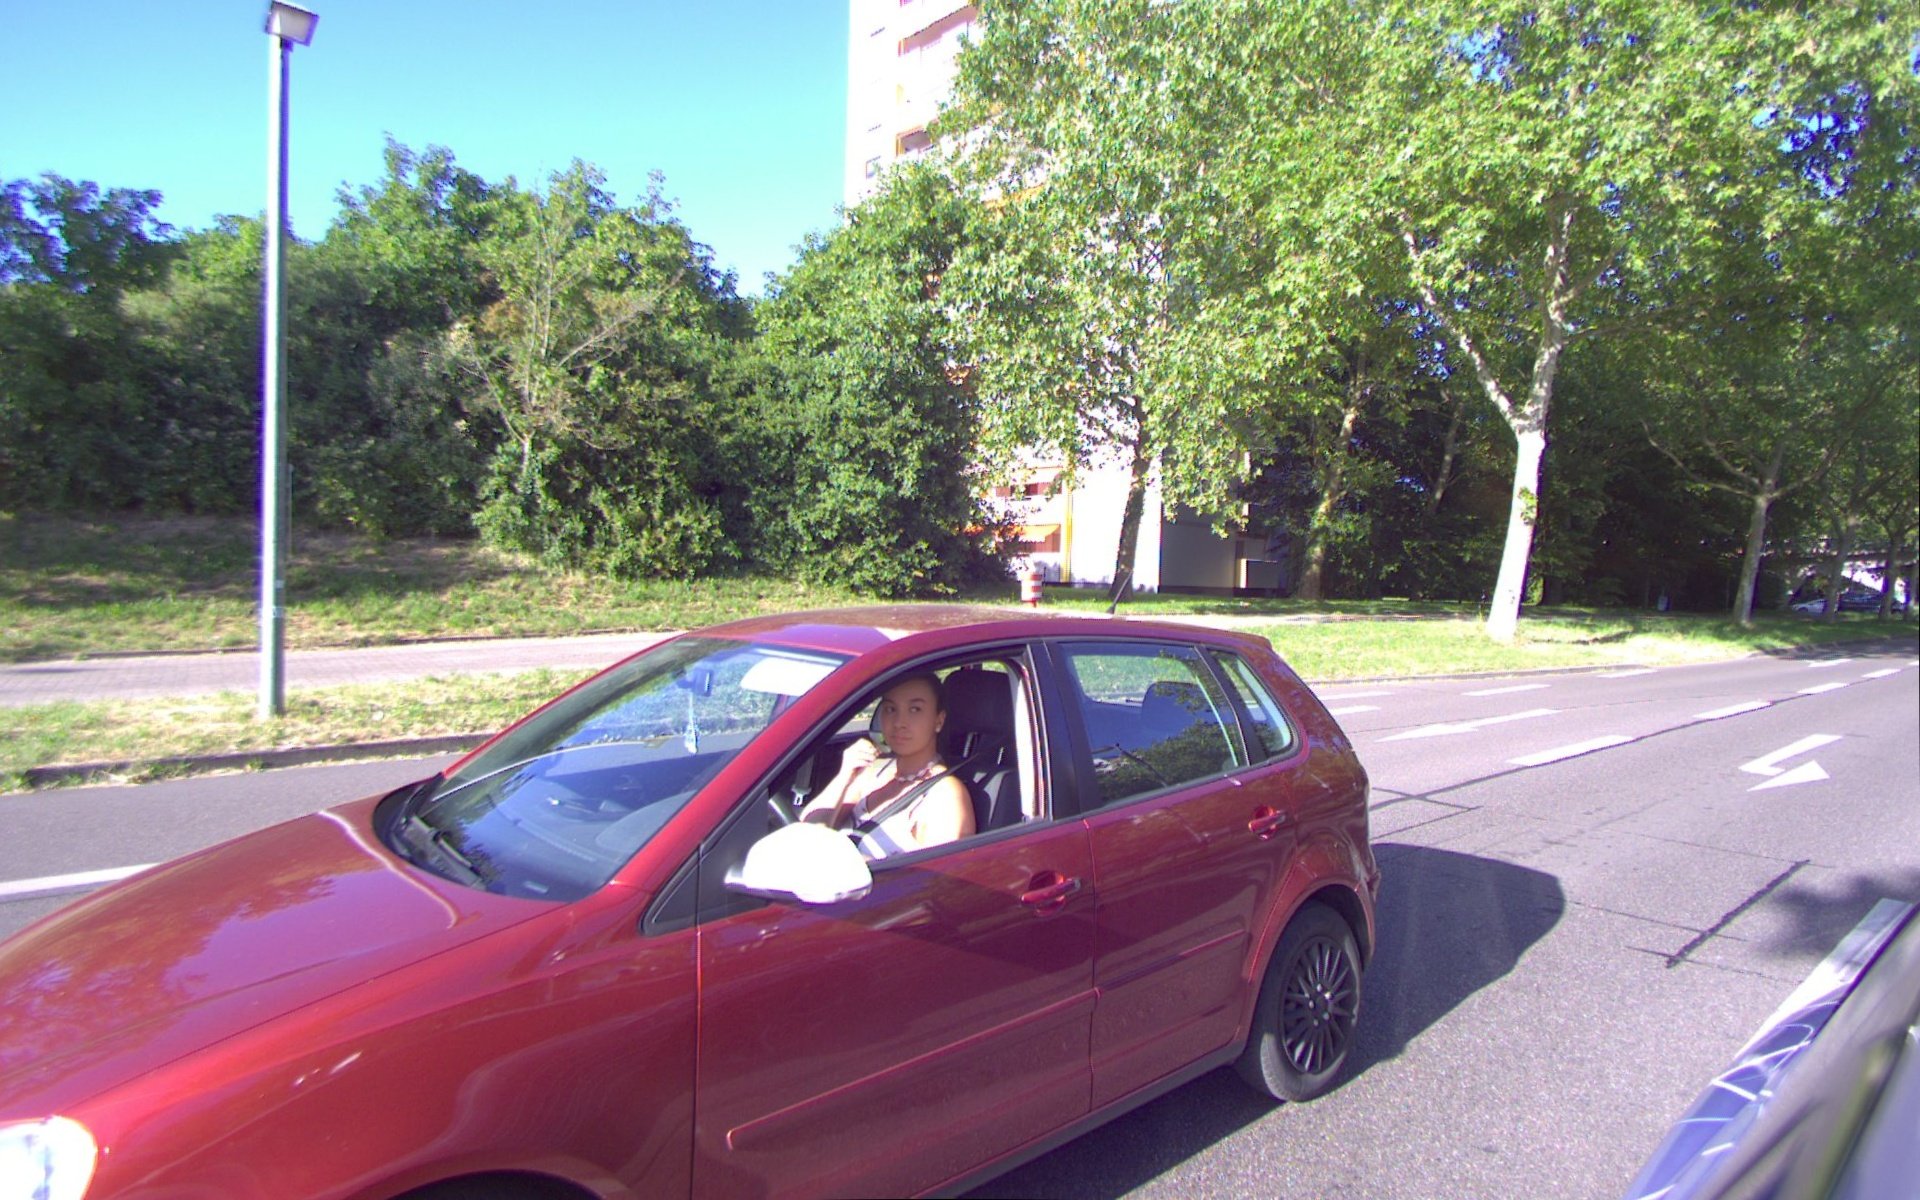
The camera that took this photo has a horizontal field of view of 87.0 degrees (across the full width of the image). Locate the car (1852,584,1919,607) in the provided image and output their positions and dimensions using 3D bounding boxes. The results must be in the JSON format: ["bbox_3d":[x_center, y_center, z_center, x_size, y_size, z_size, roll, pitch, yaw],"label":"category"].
[{"bbox_3d":[80.636,-0.402,87.901,4.702,1.959,1.879,1,1,42],"label":"car"}]

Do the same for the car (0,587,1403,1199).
[{"bbox_3d":[-0.449,0.712,2.719,3.624,1.479,1.579,-1,0,-40],"label":"car"}]
